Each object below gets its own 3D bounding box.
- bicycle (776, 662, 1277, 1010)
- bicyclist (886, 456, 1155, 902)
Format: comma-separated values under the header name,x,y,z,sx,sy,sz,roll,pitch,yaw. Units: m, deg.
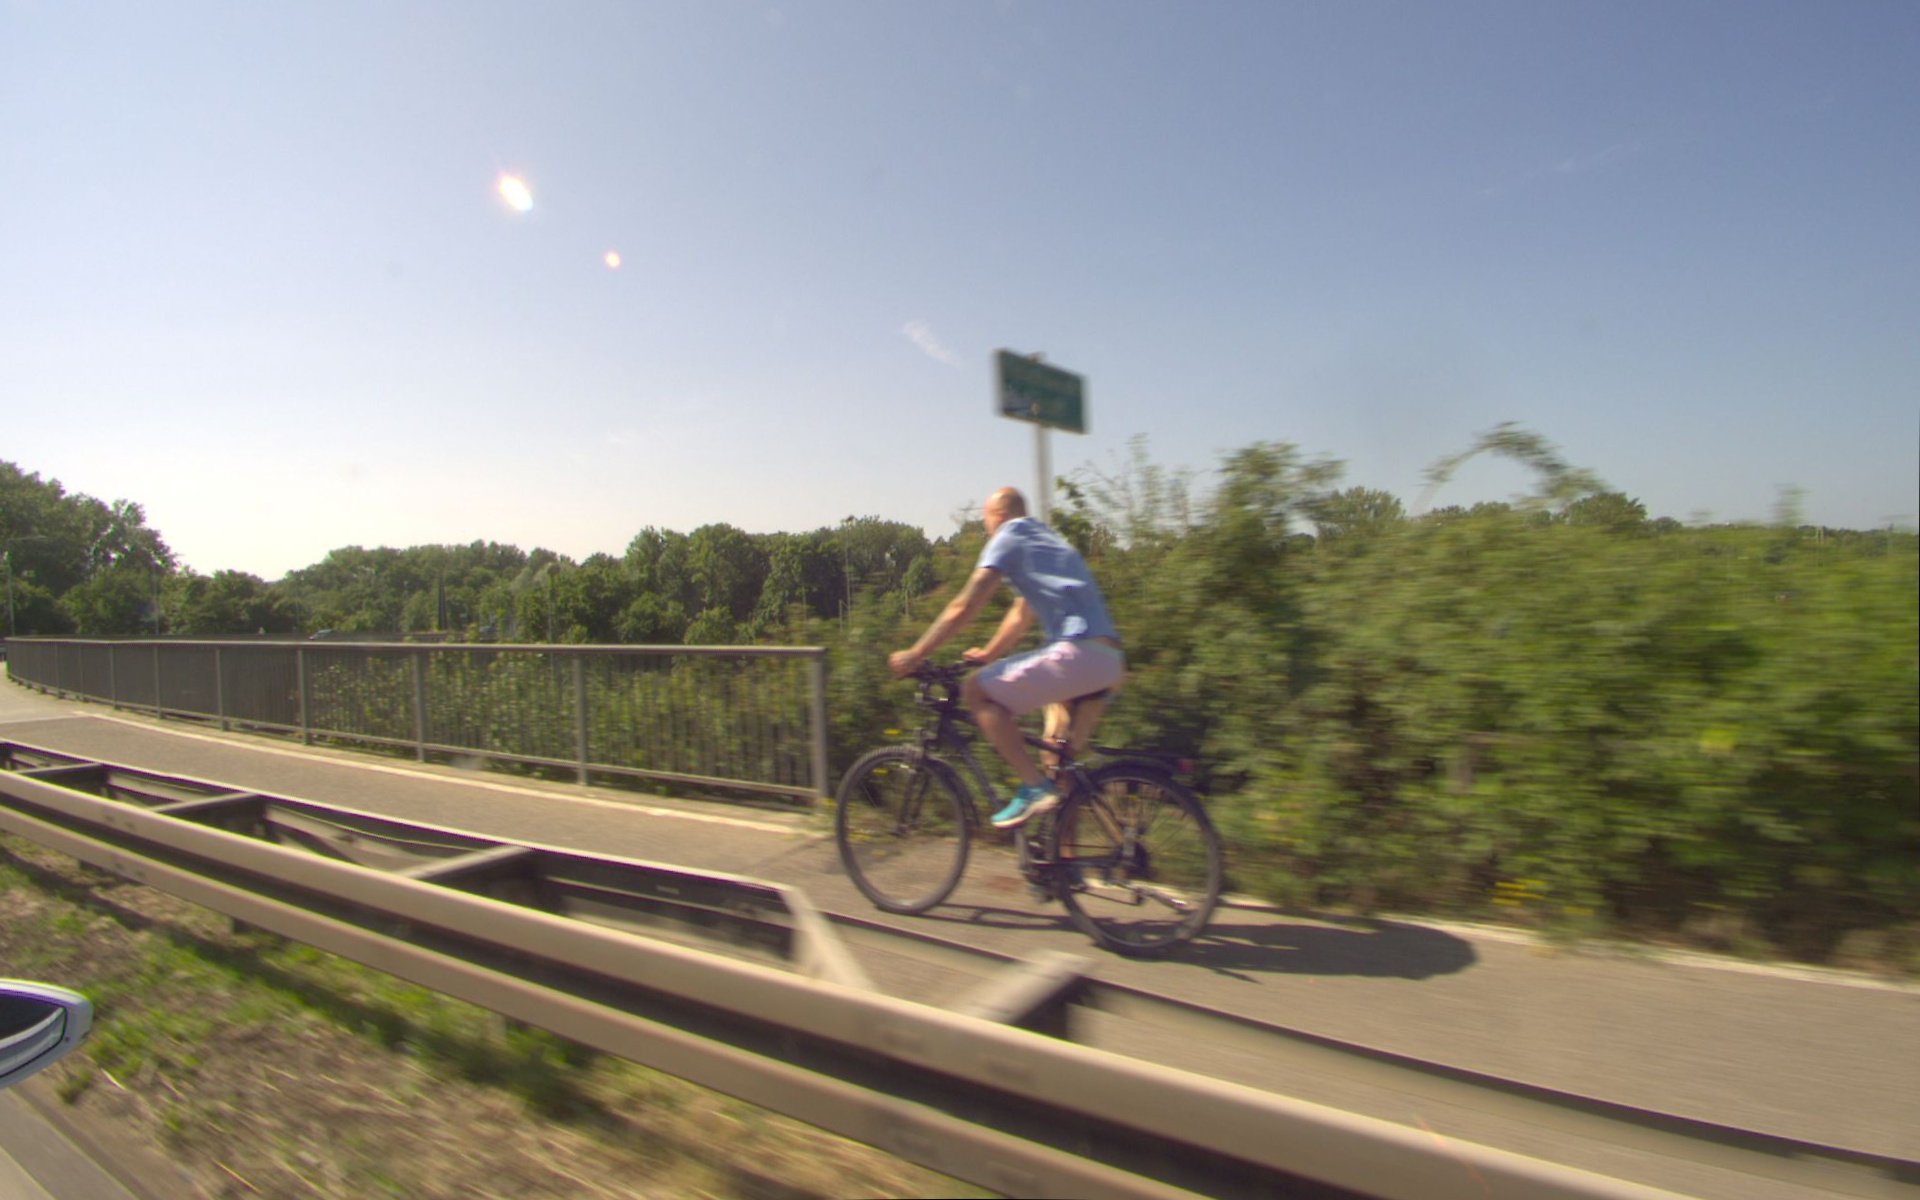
name,x,y,z,sx,sy,sz,roll,pitch,yaw
bicycle,0.233,0.803,3.948,1.818,1.034,0.701,-1,3,30
bicyclist,0.255,0.275,3.912,0.790,1.541,0.657,-2,3,28
